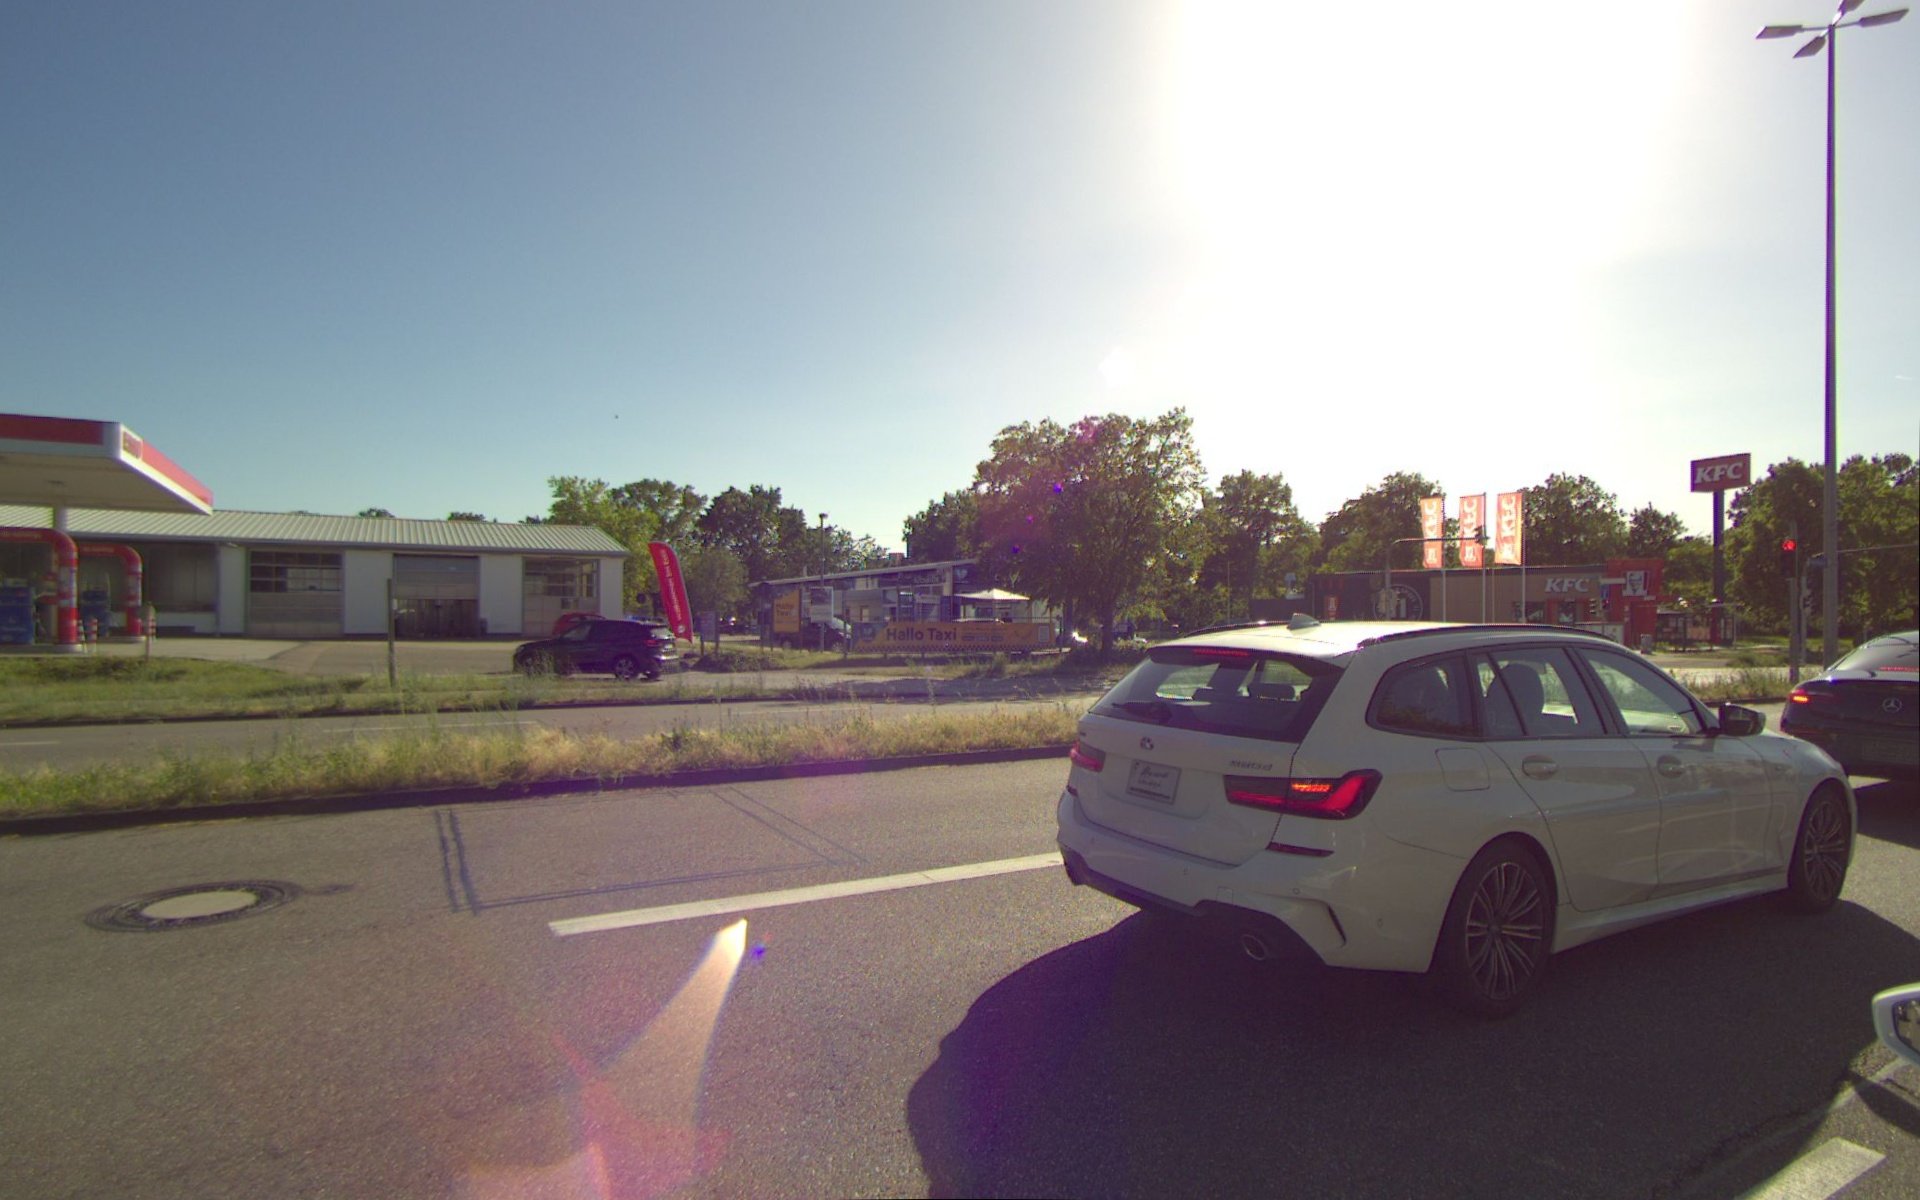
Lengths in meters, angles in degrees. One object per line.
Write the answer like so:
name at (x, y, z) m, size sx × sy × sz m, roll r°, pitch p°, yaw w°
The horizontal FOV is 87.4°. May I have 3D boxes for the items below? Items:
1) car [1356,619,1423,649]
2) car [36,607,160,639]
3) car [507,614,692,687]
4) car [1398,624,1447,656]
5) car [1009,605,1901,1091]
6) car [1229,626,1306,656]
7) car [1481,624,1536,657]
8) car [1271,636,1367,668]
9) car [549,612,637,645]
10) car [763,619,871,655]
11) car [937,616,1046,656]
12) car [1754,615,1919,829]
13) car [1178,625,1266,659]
car at (29.294, 2.312, 68.598) m, size 3.704 × 1.837 × 1.997 m, roll 2°, pitch 0°, yaw -9°
car at (-36.156, 0.974, 42.254) m, size 3.688 × 1.203 × 1.667 m, roll 2°, pitch 0°, yaw -30°
car at (-9.598, 1.313, 26.931) m, size 4.235 × 1.749 × 1.809 m, roll 2°, pitch 0°, yaw 4°
car at (28.254, 2.413, 61.488) m, size 1.896 × 1.763 × 4.099 m, roll 2°, pitch 0°, yaw 14°
car at (2.641, 0.817, 5.049) m, size 4.541 × 1.506 × 1.804 m, roll 1°, pitch 0°, yaw -30°
car at (17.068, 2.262, 55.875) m, size 1.912 × 1.472 × 3.939 m, roll 2°, pitch 0°, yaw -27°
car at (32.894, 2.388, 60.336) m, size 1.896 × 1.763 × 4.099 m, roll 2°, pitch 0°, yaw 14°
car at (17.216, 2.486, 48.332) m, size 1.850 × 1.268 × 4.062 m, roll 2°, pitch 0°, yaw -31°
car at (-18.078, 1.385, 49.455) m, size 3.949 × 1.491 × 1.521 m, roll 2°, pitch 0°, yaw -24°
car at (-5.605, 1.424, 39.174) m, size 3.930 × 1.193 × 1.774 m, roll 2°, pitch 0°, yaw 31°
car at (1.267, 1.462, 40.682) m, size 3.943 × 1.461 × 1.989 m, roll 2°, pitch 0°, yaw -23°
car at (8.978, 0.956, 8.727) m, size 4.491 × 1.572 × 1.803 m, roll 1°, pitch 0°, yaw -31°
car at (14.152, 2.239, 54.551) m, size 1.914 × 1.600 × 4.599 m, roll 2°, pitch 0°, yaw -31°
